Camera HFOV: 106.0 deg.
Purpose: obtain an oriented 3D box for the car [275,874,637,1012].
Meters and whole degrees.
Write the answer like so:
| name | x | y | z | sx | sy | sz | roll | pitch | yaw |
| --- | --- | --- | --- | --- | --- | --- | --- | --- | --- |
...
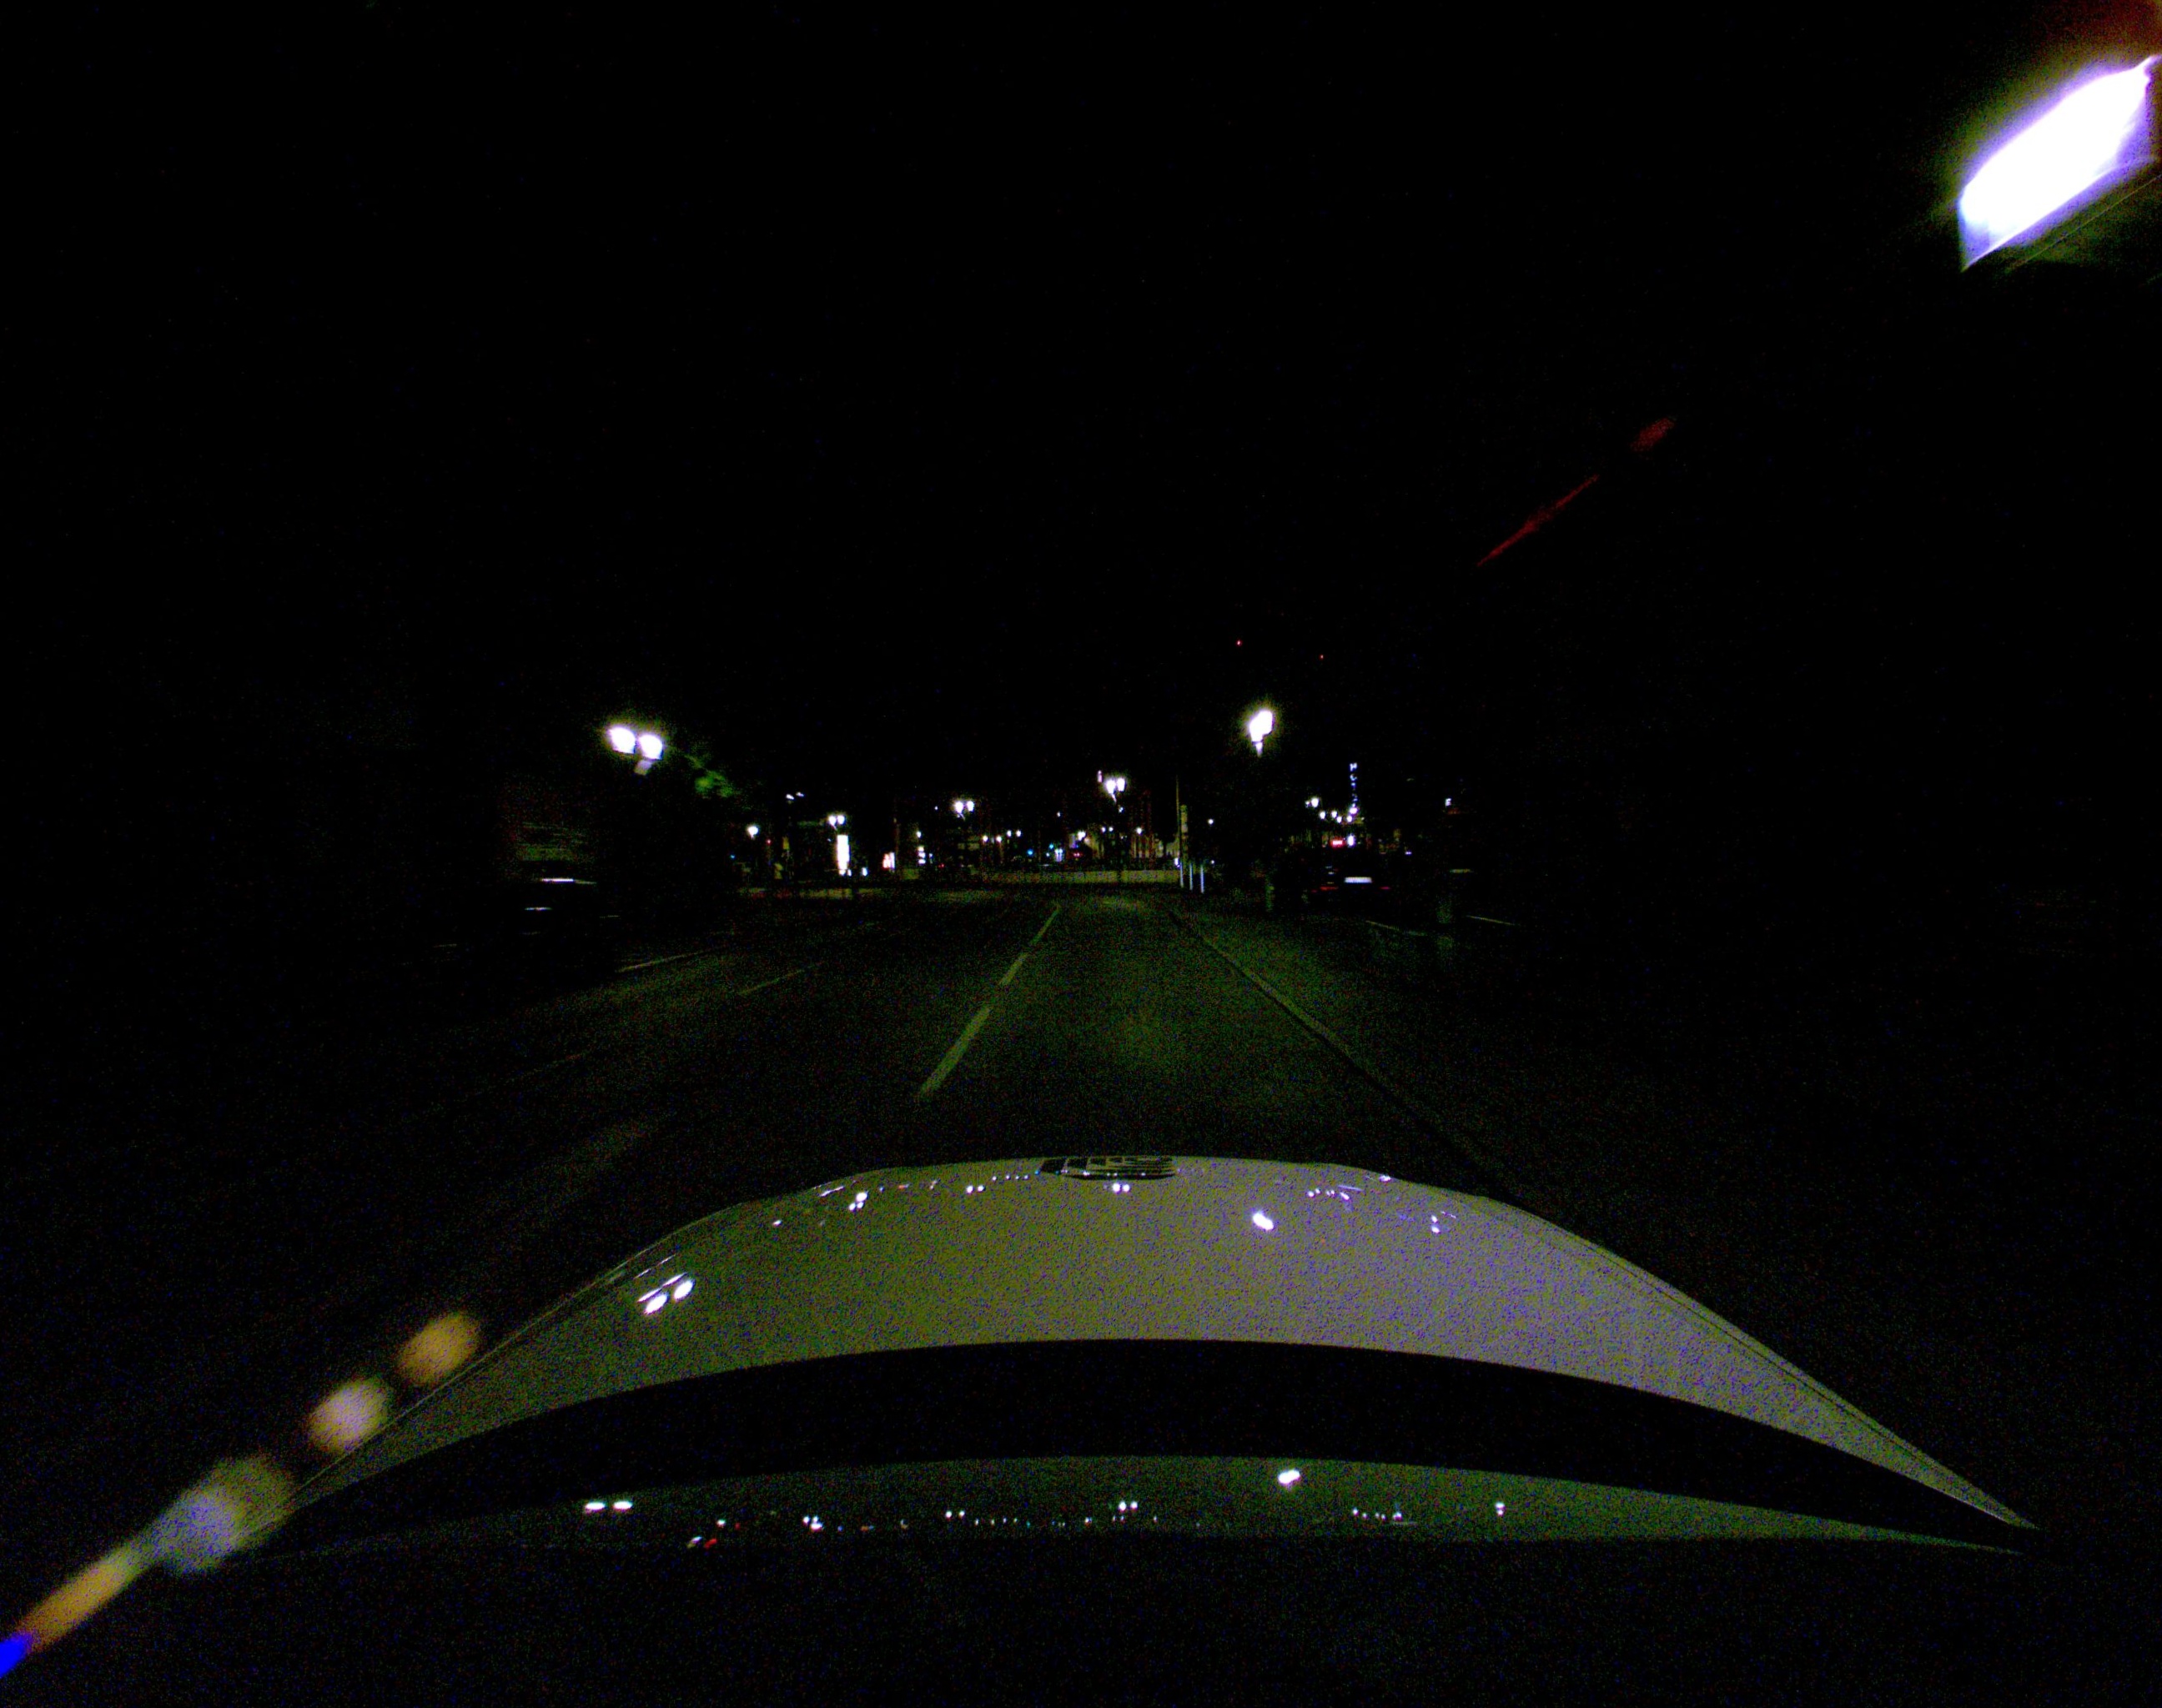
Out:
| name | x | y | z | sx | sy | sz | roll | pitch | yaw |
| --- | --- | --- | --- | --- | --- | --- | --- | --- | --- |
| car | -8.110 | 1.046 | 11.167 | 1.779 | 1.415 | 4.125 | -1 | 0 | 0 |

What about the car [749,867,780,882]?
| name | x | y | z | sx | sy | sz | roll | pitch | yaw |
| --- | --- | --- | --- | --- | --- | --- | --- | --- | --- |
| car | -35.411 | 2.276 | 91.114 | 2.011 | 1.574 | 3.610 | -2 | 0 | -43 |

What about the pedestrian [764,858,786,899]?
| name | x | y | z | sx | sy | sz | roll | pitch | yaw |
| --- | --- | --- | --- | --- | --- | --- | --- | --- | --- |
| pedestrian | -13.734 | 1.100 | 36.539 | 0.683 | 1.822 | 0.730 | -2 | -2 | 44 |

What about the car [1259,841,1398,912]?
| name | x | y | z | sx | sy | sz | roll | pitch | yaw |
| --- | --- | --- | --- | --- | --- | --- | --- | --- | --- |
| car | 5.826 | 0.488 | 19.844 | 1.730 | 1.459 | 4.722 | -2 | 0 | -3 |

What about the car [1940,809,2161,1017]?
| name | x | y | z | sx | sy | sz | roll | pitch | yaw |
| --- | --- | --- | --- | --- | --- | --- | --- | --- | --- |
| car | 9.995 | 0.325 | 6.359 | 4.404 | 1.459 | 1.792 | -3 | 0 | 6 |
